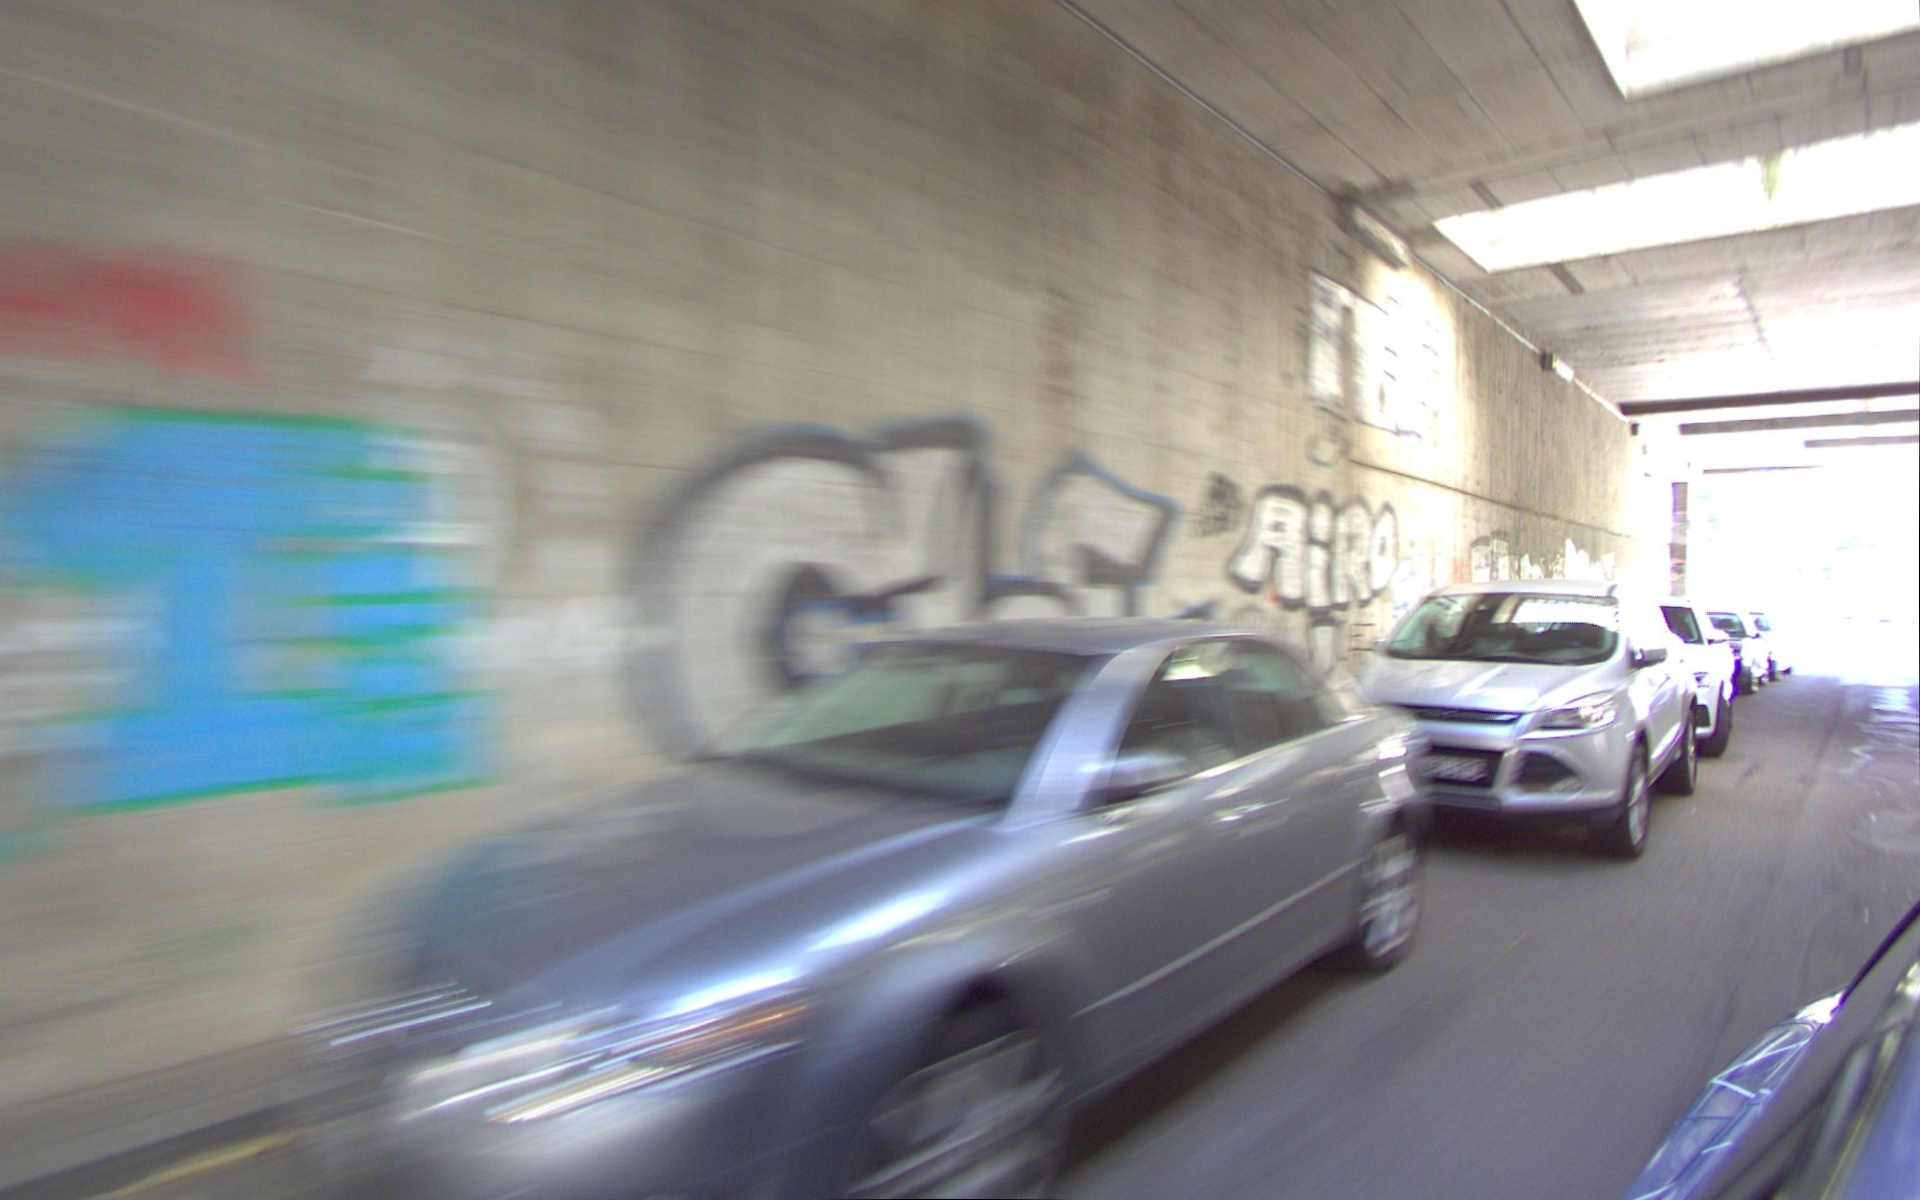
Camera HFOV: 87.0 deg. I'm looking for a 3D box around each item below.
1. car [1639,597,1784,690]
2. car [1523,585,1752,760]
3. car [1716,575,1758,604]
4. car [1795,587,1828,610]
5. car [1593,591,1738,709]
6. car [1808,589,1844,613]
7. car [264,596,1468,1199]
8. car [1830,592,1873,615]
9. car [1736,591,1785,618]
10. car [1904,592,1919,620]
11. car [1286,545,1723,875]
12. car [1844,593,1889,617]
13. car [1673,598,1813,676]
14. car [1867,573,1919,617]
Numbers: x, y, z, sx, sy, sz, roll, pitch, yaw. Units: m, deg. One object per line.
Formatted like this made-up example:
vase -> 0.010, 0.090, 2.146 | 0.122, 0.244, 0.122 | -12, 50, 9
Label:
car -> 13.697, 0.697, 18.354 | 1.760, 1.428, 4.002 | 1, 1, 42
car -> 7.683, 0.623, 11.312 | 1.727, 1.565, 4.096 | 1, 1, 40
car -> 56.005, -0.737, 73.027 | 1.982, 2.055, 4.253 | 1, 0, 32
car -> 73.536, -0.171, 87.438 | 1.765, 1.905, 3.951 | 1, 1, 34
car -> 10.750, 0.648, 15.321 | 1.600, 1.506, 3.588 | 1, 1, 38
car -> 69.876, 0.067, 81.673 | 1.765, 1.905, 3.950 | 1, 0, 34
car -> 0.271, 0.689, 3.624 | 1.700, 1.392, 4.307 | 0, 0, 42
car -> 63.840, 0.218, 72.514 | 1.773, 1.576, 3.776 | 1, 1, 33
car -> 48.468, 0.287, 61.335 | 1.766, 1.459, 3.954 | 4, 1, 32
car -> 52.219, 0.312, 54.241 | 1.681, 1.481, 3.952 | 1, 1, 33
car -> 4.194, 0.565, 7.410 | 1.852, 1.687, 4.304 | 0, 0, 42
car -> 61.563, 0.322, 68.772 | 1.683, 1.576, 3.776 | 1, 1, 33
car -> 16.893, 0.726, 21.757 | 1.851, 1.451, 4.533 | -1, 0, 44
car -> 55.178, -0.337, 59.210 | 2.203, 2.482, 5.038 | 1, 1, 31
